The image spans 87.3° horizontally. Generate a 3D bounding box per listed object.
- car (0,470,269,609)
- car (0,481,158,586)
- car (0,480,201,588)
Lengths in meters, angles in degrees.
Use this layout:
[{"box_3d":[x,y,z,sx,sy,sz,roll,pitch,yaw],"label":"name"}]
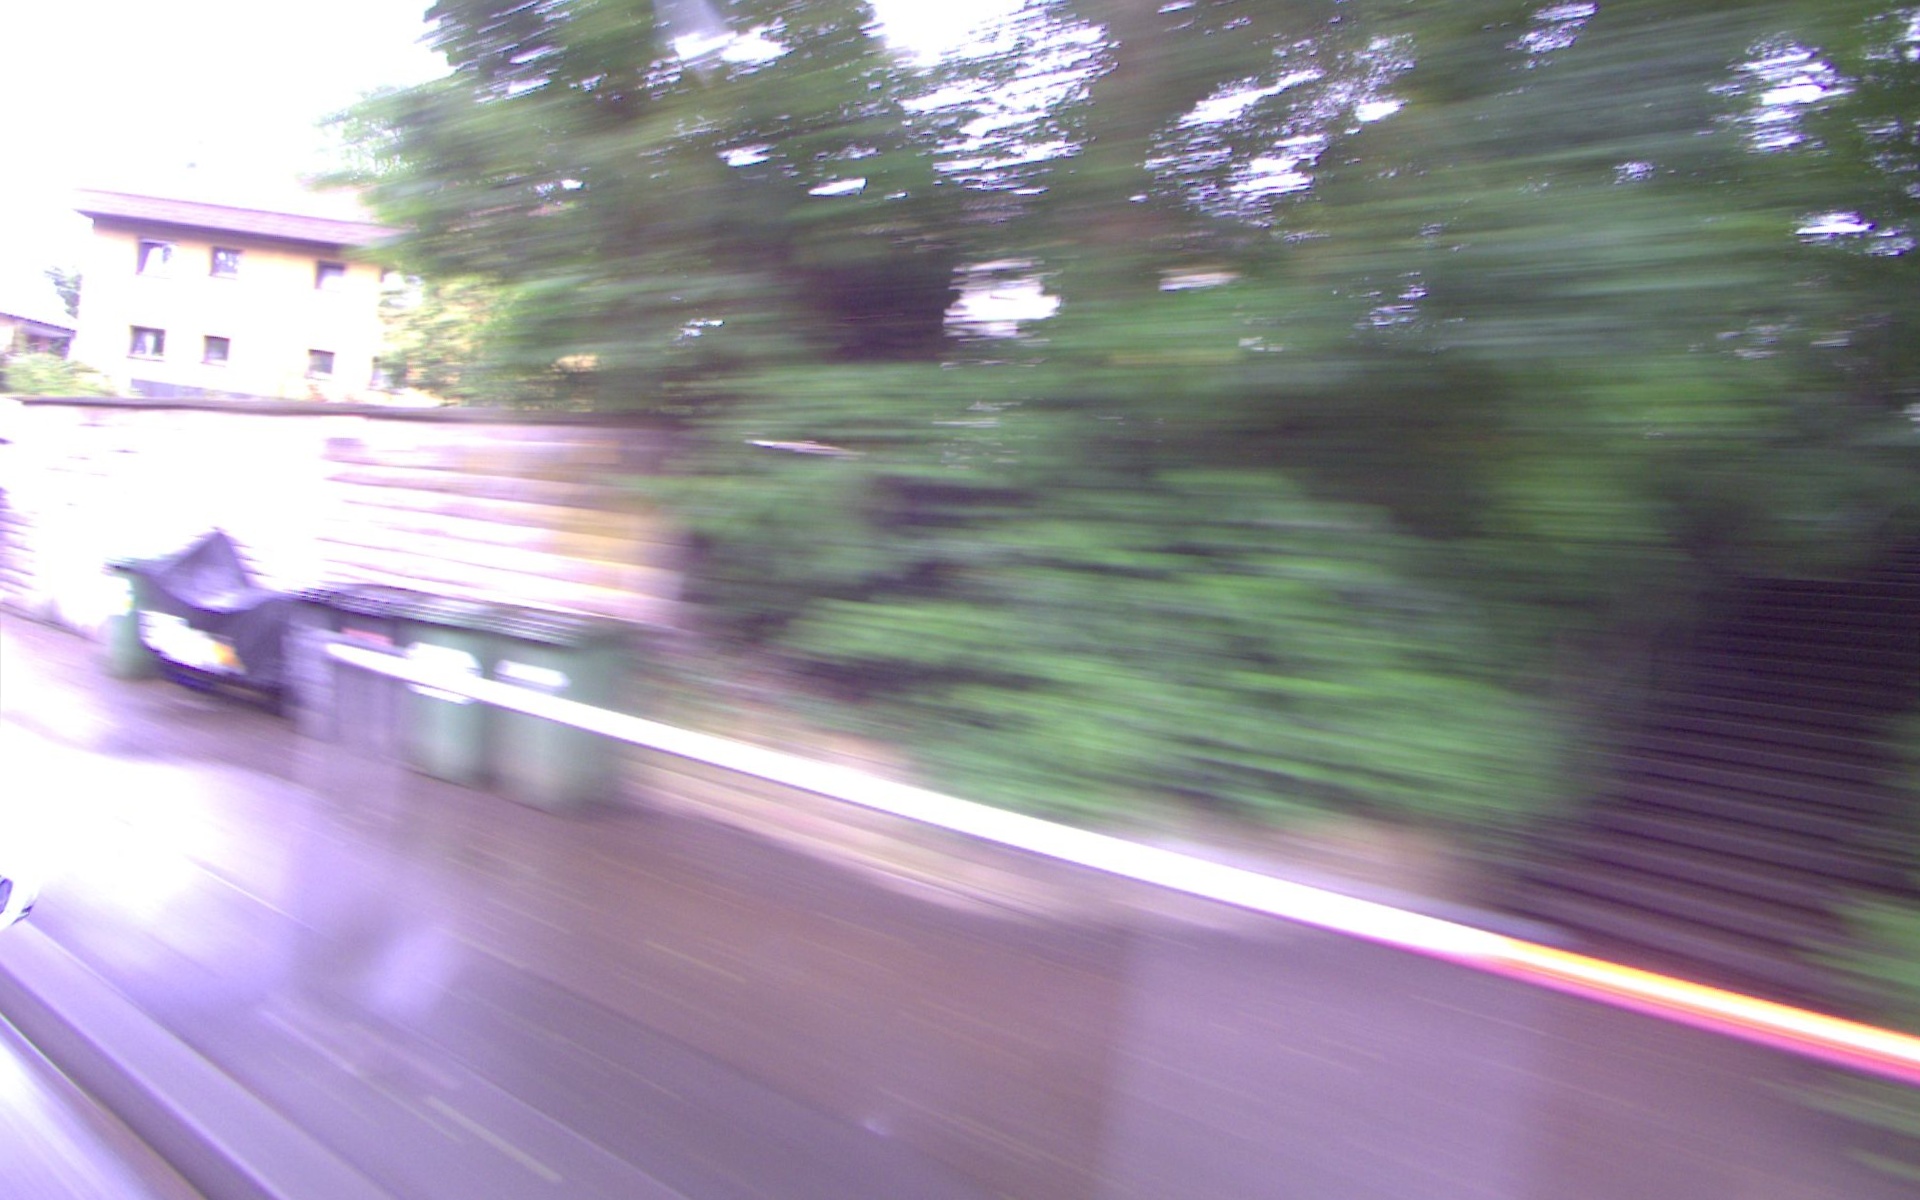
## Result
[{"box_3d":[-13.192,-0.906,15.488,1.671,1.648,3.737,6,-2,30],"label":"car"},{"box_3d":[-17.104,-1.312,18.075,1.582,1.570,3.778,7,-2,30],"label":"car"},{"box_3d":[-15.125,-1.137,16.971,1.550,1.499,3.287,8,1,30],"label":"car"}]
